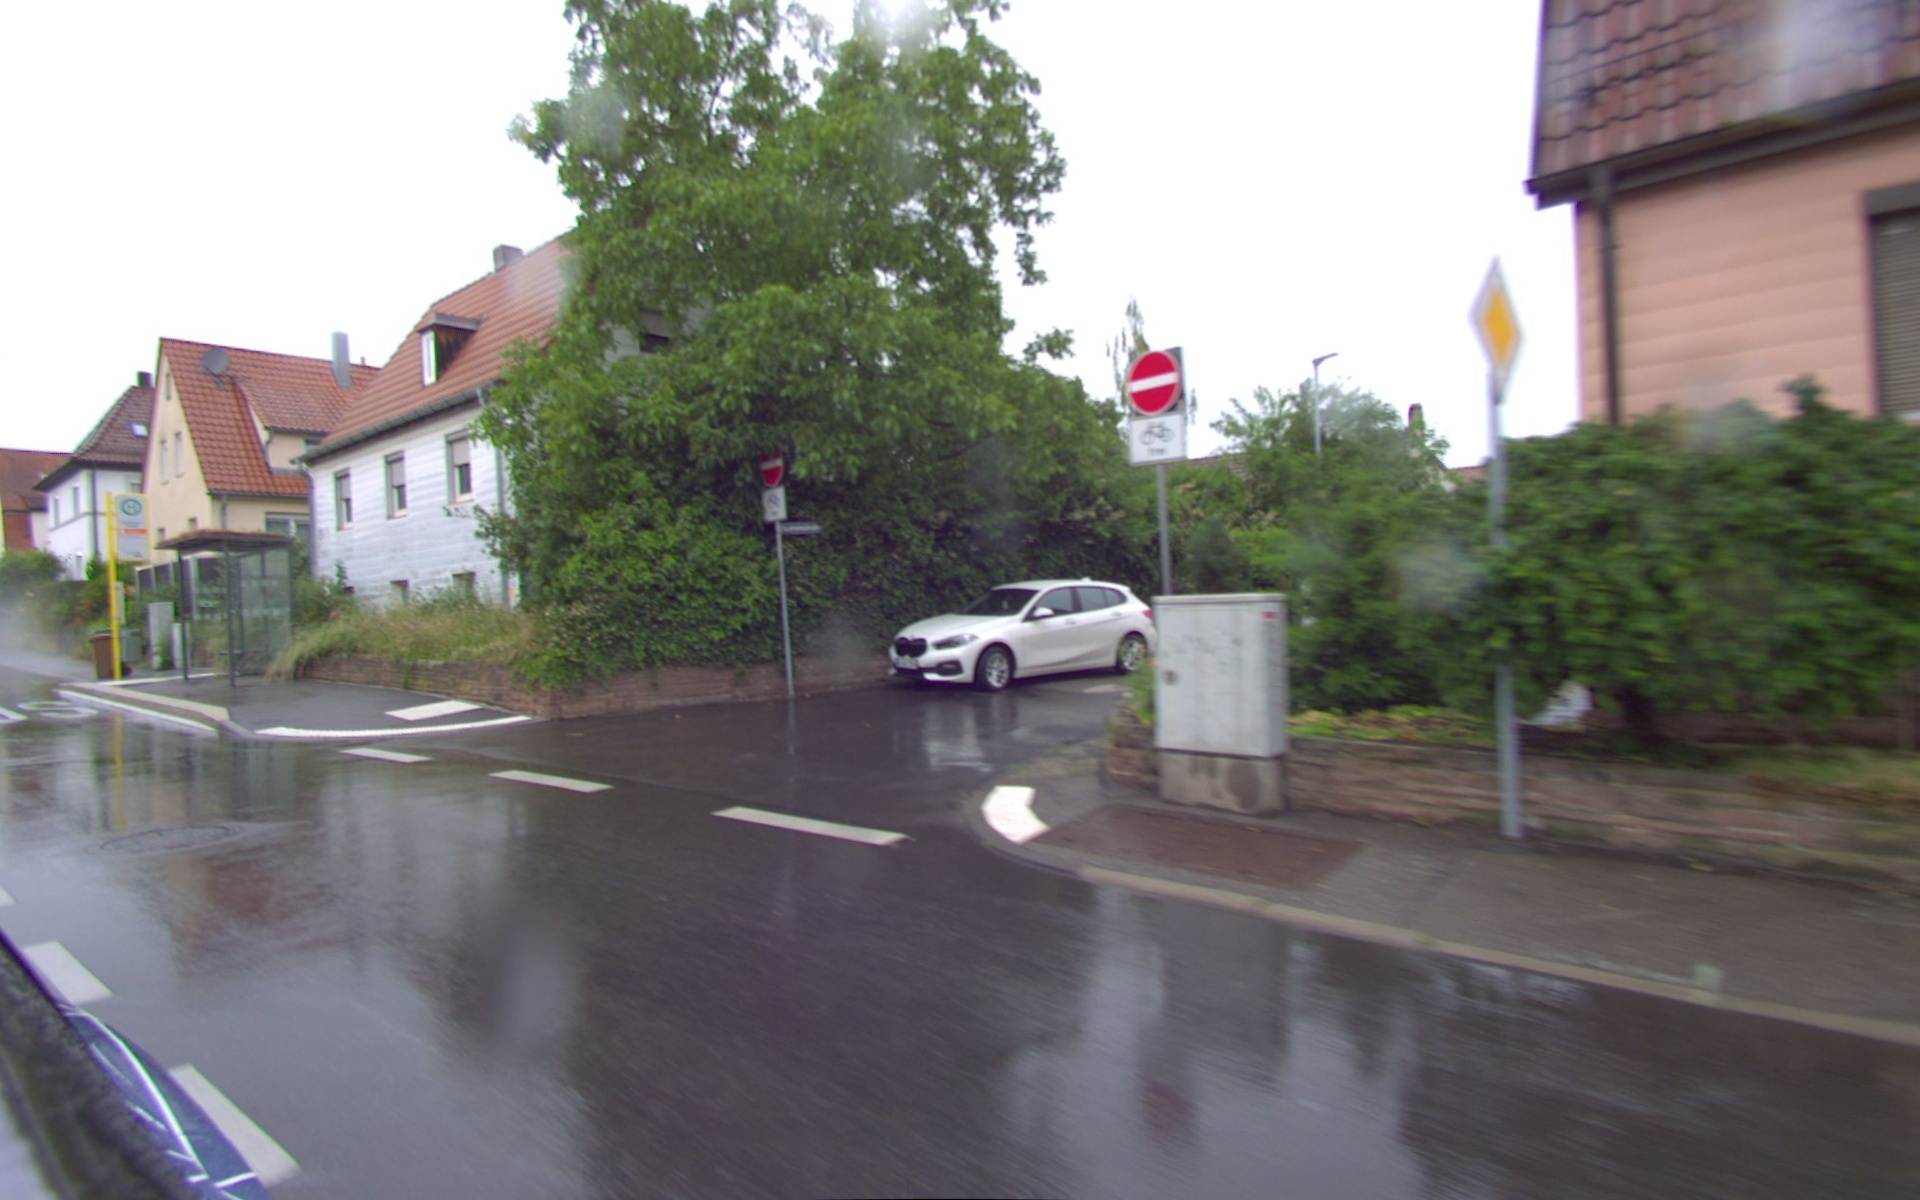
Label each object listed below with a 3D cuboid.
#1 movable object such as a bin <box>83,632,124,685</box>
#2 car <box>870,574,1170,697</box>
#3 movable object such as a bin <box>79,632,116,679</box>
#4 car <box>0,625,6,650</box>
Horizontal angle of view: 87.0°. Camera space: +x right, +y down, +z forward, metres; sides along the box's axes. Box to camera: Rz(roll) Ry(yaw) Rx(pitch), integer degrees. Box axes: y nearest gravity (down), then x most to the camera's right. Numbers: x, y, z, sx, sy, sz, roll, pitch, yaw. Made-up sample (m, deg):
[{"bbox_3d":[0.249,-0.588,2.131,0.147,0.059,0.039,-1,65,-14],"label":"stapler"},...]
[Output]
[{"bbox_3d":[-18.700,1.266,22.099,0.527,1.090,0.547,-2,3,42],"label":"movable object such as a bin"},{"bbox_3d":[0.953,0.431,14.666,4.172,1.429,1.721,-3,1,-37],"label":"car"},{"bbox_3d":[-18.389,1.190,21.576,0.454,0.946,0.463,-4,2,42],"label":"movable object such as a bin"},{"bbox_3d":[-65.089,2.287,65.800,1.870,1.990,3.952,-2,-12,37],"label":"car"}]
